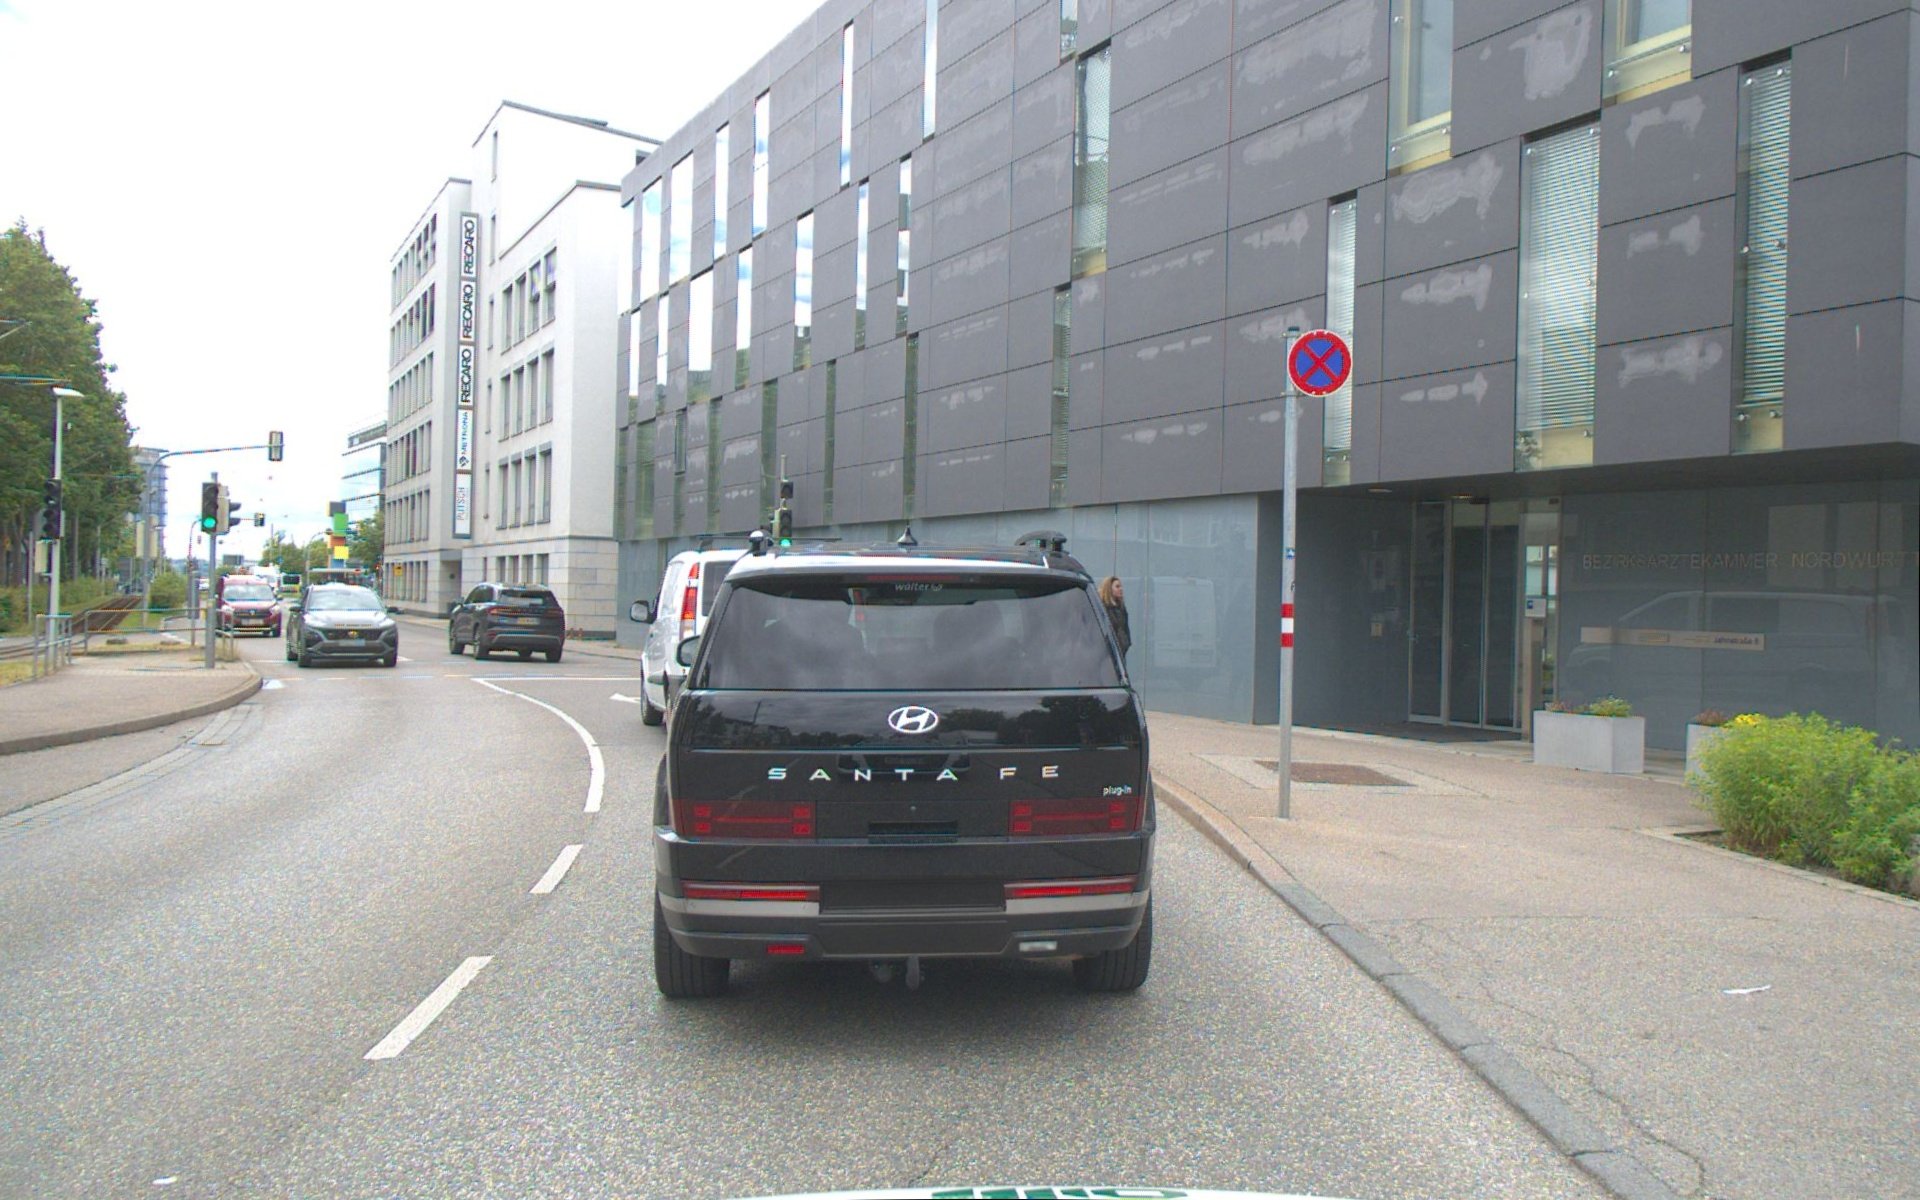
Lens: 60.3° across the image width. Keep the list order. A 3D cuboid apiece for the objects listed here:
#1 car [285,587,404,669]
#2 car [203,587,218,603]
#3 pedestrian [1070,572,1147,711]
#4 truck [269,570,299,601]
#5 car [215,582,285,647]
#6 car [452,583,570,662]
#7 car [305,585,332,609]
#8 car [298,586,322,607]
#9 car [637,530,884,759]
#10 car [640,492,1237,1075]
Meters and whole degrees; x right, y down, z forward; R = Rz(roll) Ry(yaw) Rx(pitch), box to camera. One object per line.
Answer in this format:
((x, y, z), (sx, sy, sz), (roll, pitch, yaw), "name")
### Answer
((-12.215, 0.514, 32.690), (1.747, 1.504, 3.964), (-1, 0, -27), "car")
((-93.771, -0.668, 207.016), (1.645, 1.915, 3.969), (1, 0, -24), "car")
((1.890, 0.527, 21.151), (0.845, 1.724, 0.713), (2, -1, -3), "pedestrian")
((-61.276, -1.303, 149.915), (2.139, 2.661, 5.746), (1, 0, -26), "truck")
((-21.348, 0.412, 49.682), (1.661, 1.840, 4.314), (-1, 0, -27), "car")
((-9.928, 0.457, 36.381), (1.738, 1.637, 4.153), (1, 0, -26), "car")
((-45.966, -0.236, 118.481), (1.735, 1.637, 4.159), (1, 0, -23), "car")
((-53.032, -0.292, 134.948), (1.735, 1.637, 4.159), (1, 0, -23), "car")
((-2.206, 0.400, 17.088), (1.900, 2.029, 4.517), (1, 0, -15), "car")
((-0.297, 0.557, 7.352), (1.872, 1.780, 4.390), (0, 0, -7), "car")
